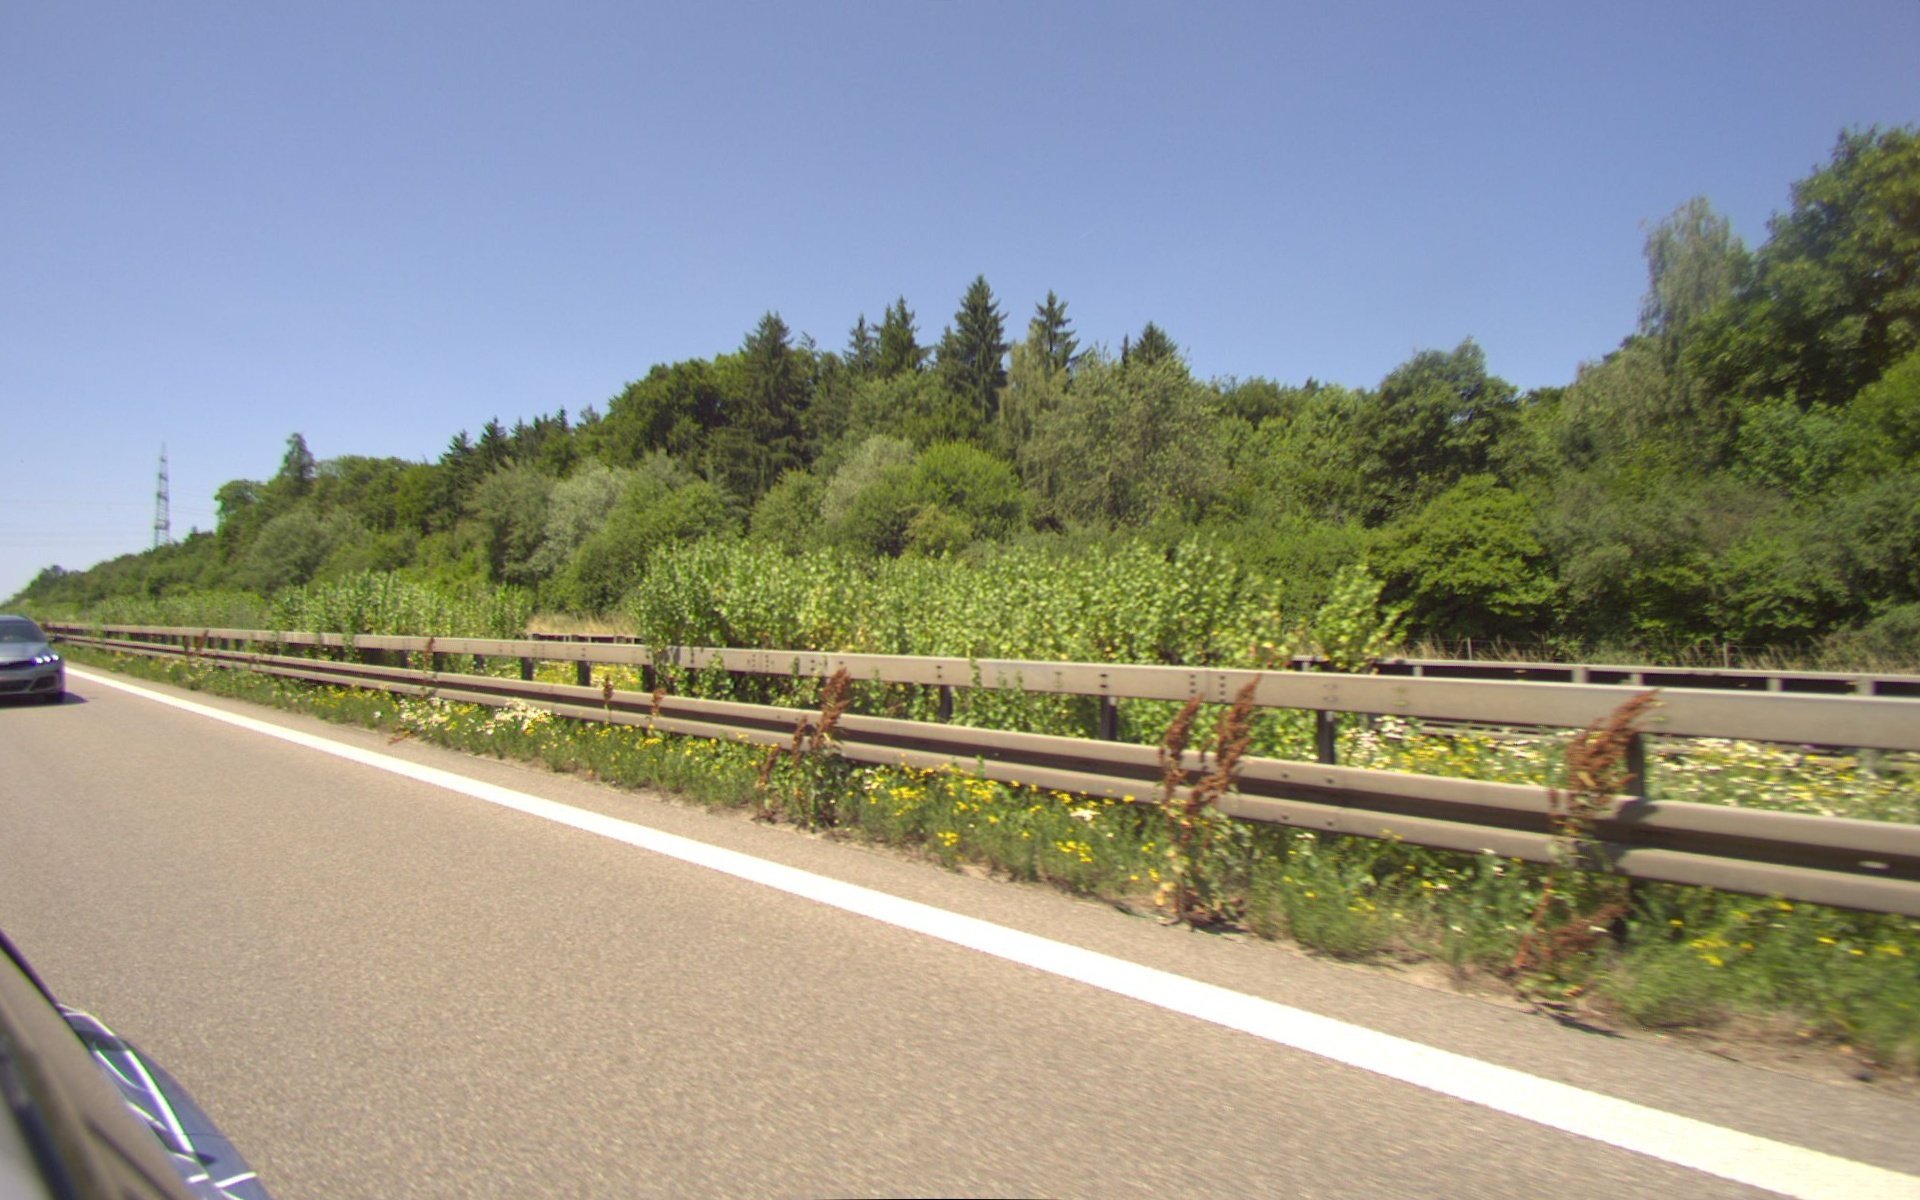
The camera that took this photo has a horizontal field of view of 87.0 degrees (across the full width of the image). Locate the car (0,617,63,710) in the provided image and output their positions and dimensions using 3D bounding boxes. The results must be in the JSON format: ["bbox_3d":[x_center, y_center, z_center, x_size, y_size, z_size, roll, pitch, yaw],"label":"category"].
[{"bbox_3d":[-16.337,1.026,16.786,3.998,1.419,1.745,-1,-1,42],"label":"car"}]
